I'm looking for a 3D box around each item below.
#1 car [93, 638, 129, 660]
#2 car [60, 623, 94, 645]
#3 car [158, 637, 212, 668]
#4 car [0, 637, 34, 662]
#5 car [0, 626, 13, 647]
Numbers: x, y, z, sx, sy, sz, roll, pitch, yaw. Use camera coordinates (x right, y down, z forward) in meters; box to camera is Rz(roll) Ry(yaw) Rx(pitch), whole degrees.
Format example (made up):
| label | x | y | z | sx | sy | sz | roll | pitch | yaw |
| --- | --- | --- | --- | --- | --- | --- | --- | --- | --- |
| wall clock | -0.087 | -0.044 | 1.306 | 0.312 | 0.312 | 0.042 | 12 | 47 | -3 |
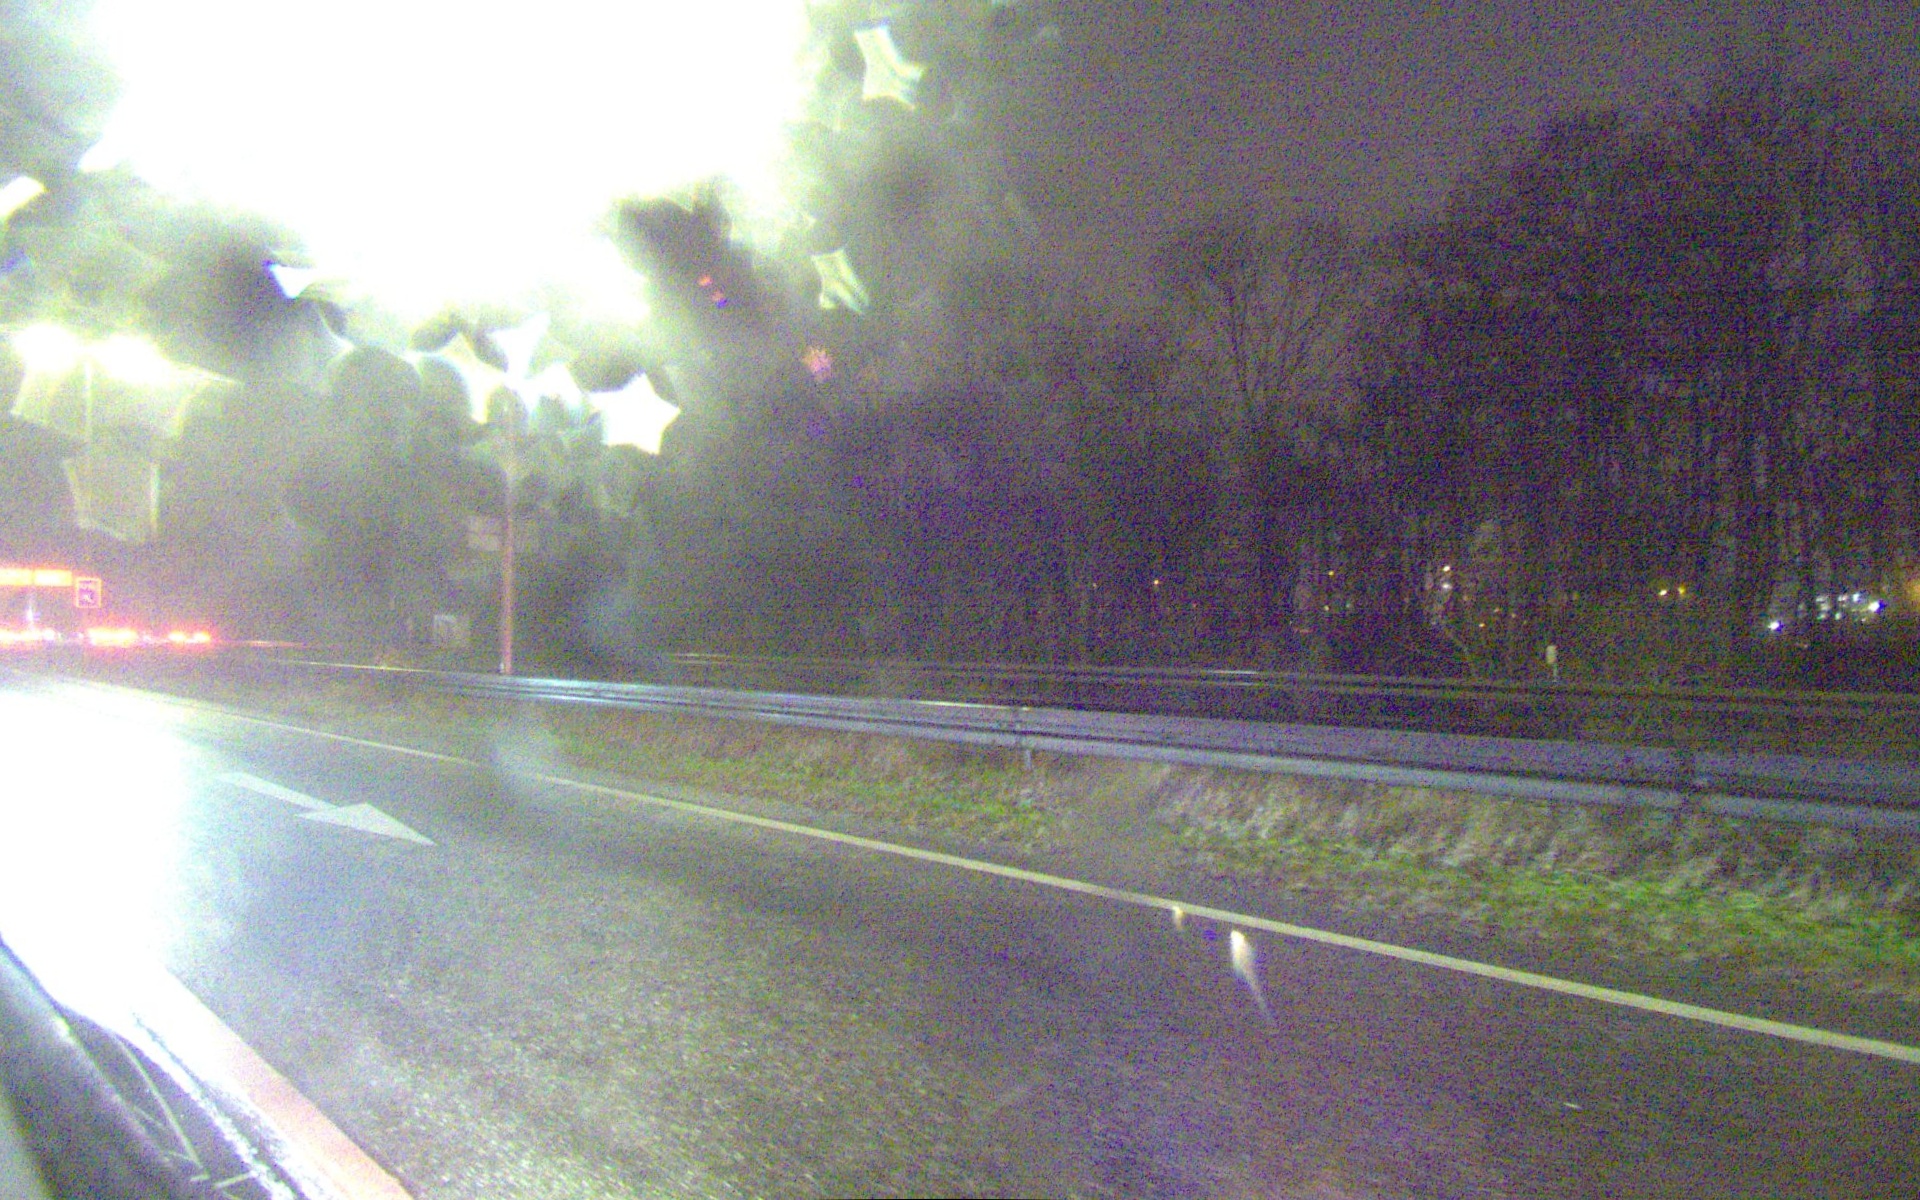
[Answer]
| label | x | y | z | sx | sy | sz | roll | pitch | yaw |
| --- | --- | --- | --- | --- | --- | --- | --- | --- | --- |
| car | -70.172 | 4.029 | 83.626 | 3.999 | 1.660 | 1.793 | -2 | -1 | 42 |
| car | -86.612 | 3.340 | 99.229 | 3.998 | 2.029 | 1.973 | -2 | -1 | 41 |
| car | -44.905 | 3.034 | 58.635 | 4.000 | 1.660 | 1.842 | -2 | -1 | 43 |
| car | -67.177 | 3.459 | 71.779 | 3.997 | 1.660 | 1.765 | -2 | -1 | 40 |
| car | -78.440 | 2.968 | 82.181 | 3.995 | 1.660 | 1.766 | -2 | -1 | 39 |
